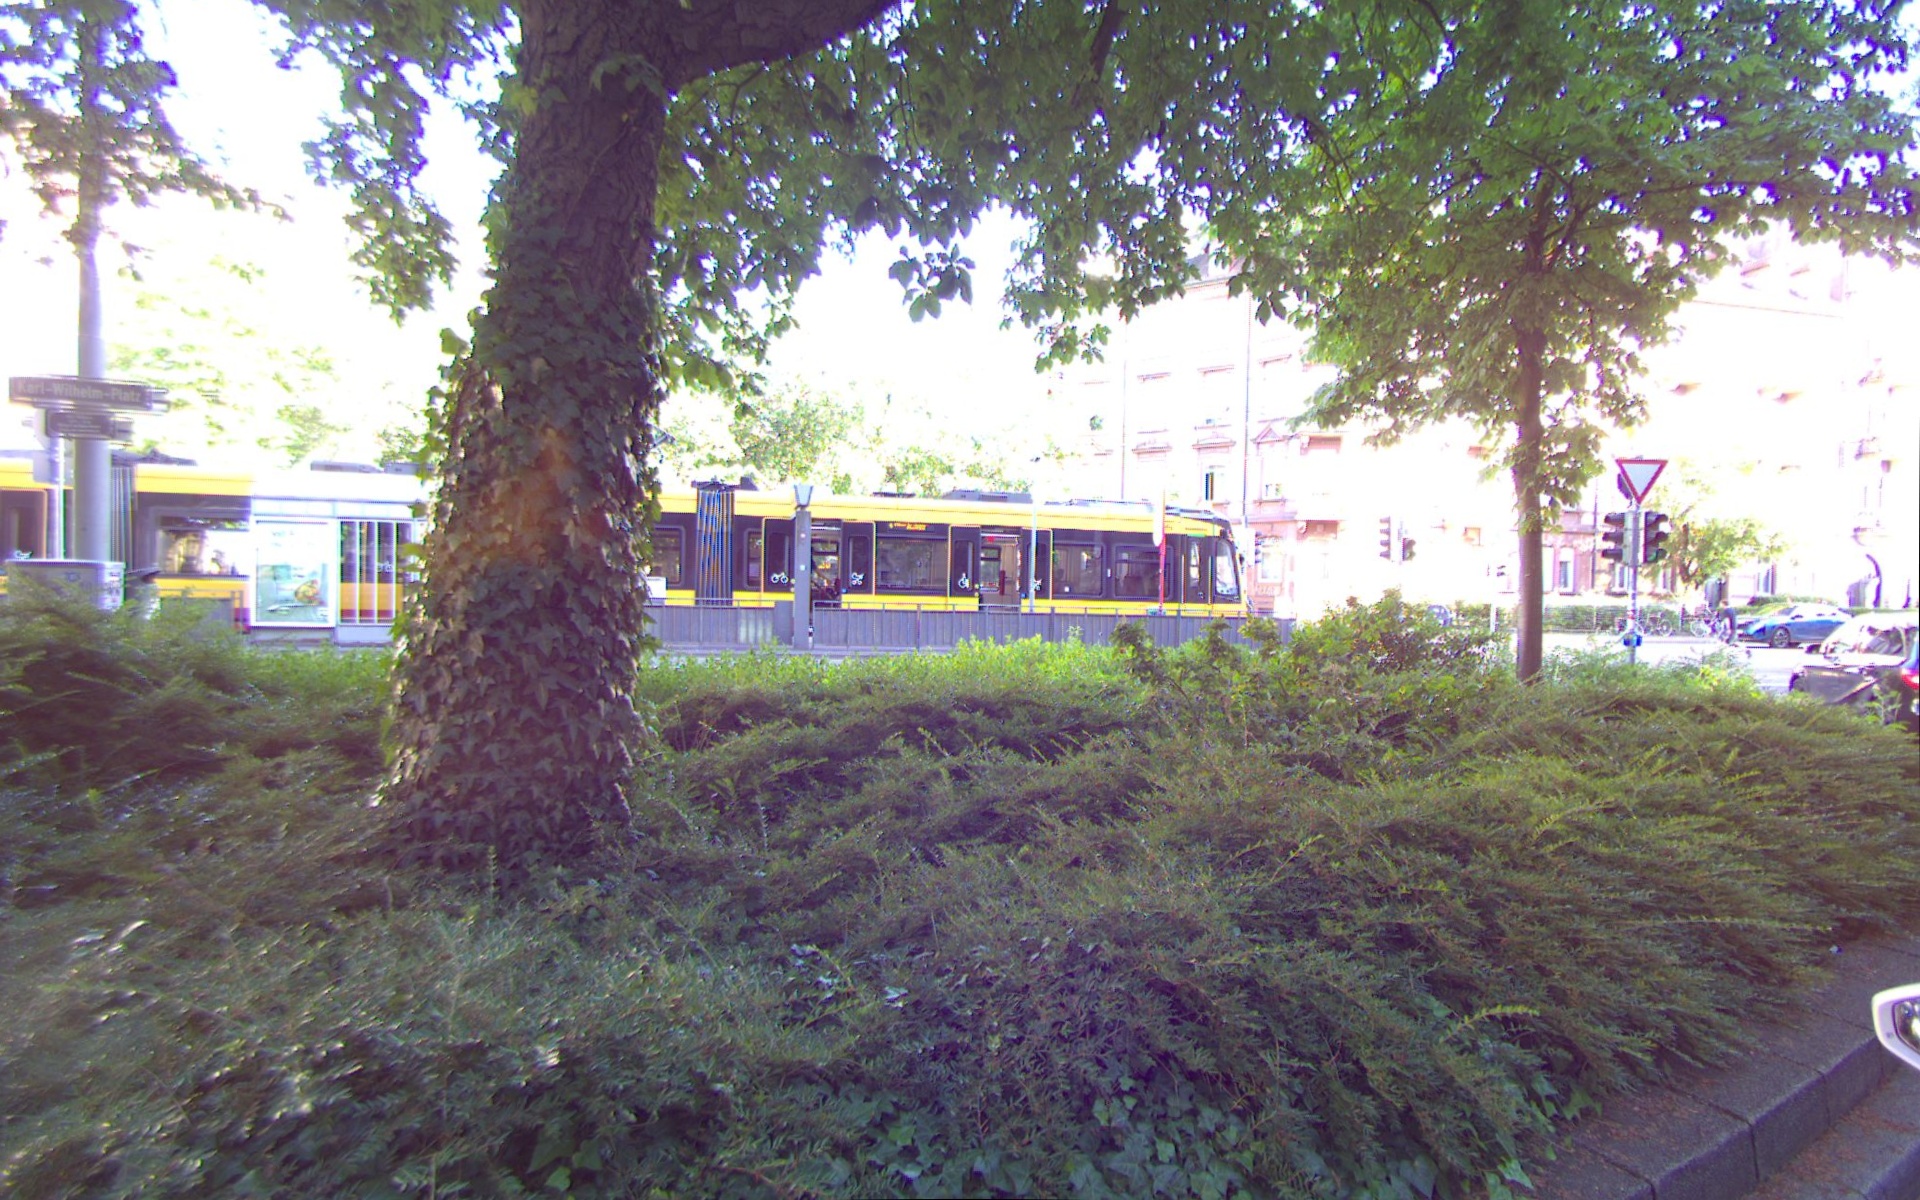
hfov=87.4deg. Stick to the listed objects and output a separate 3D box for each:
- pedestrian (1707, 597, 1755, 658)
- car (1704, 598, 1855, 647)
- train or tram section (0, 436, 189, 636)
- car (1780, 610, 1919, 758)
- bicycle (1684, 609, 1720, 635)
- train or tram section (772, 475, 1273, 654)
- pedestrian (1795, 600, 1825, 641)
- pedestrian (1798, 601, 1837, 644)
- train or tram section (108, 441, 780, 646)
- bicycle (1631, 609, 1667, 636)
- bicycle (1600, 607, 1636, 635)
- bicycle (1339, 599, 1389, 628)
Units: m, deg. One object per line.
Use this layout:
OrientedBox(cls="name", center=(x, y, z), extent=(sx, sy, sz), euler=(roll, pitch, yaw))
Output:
OrientedBox(cls="pedestrian", center=(21.958, 0.771, 28.610), extent=(0.720, 1.657, 0.893), euler=(-1, 4, -44))
OrientedBox(cls="car", center=(30.046, 0.816, 36.871), extent=(4.332, 1.672, 1.944), euler=(1, 1, -11))
OrientedBox(cls="train or tram section", center=(-22.134, -1.307, 18.515), extent=(12.463, 3.605, 2.766), euler=(1, 1, -13))
OrientedBox(cls="car", center=(11.590, 0.901, 12.070), extent=(1.761, 1.562, 3.856), euler=(0, 0, 25))
OrientedBox(cls="bicycle", center=(31.592, 0.947, 42.766), extent=(1.211, 1.052, 0.442), euler=(1, 2, -8))
OrientedBox(cls="train or tram section", center=(1.475, -0.711, 24.070), extent=(11.598, 3.668, 2.793), euler=(1, 1, -13))
OrientedBox(cls="pedestrian", center=(35.999, 0.862, 42.553), extent=(0.624, 1.738, 0.664), euler=(1, 1, 1))
OrientedBox(cls="pedestrian", center=(35.467, 0.911, 41.541), extent=(0.880, 1.688, 0.712), euler=(1, 4, 5))
OrientedBox(cls="train or tram section", center=(-10.114, -1.007, 21.339), extent=(12.206, 3.635, 2.779), euler=(1, 1, -13))
OrientedBox(cls="bicycle", center=(29.062, 0.943, 42.378), extent=(1.210, 1.122, 0.442), euler=(1, 2, -7))
OrientedBox(cls="bicycle", center=(27.672, 0.874, 42.233), extent=(1.210, 1.122, 0.442), euler=(1, 2, -7))
OrientedBox(cls="bicycle", center=(17.582, 0.573, 43.734), extent=(1.928, 1.122, 0.443), euler=(3, 2, 22))
